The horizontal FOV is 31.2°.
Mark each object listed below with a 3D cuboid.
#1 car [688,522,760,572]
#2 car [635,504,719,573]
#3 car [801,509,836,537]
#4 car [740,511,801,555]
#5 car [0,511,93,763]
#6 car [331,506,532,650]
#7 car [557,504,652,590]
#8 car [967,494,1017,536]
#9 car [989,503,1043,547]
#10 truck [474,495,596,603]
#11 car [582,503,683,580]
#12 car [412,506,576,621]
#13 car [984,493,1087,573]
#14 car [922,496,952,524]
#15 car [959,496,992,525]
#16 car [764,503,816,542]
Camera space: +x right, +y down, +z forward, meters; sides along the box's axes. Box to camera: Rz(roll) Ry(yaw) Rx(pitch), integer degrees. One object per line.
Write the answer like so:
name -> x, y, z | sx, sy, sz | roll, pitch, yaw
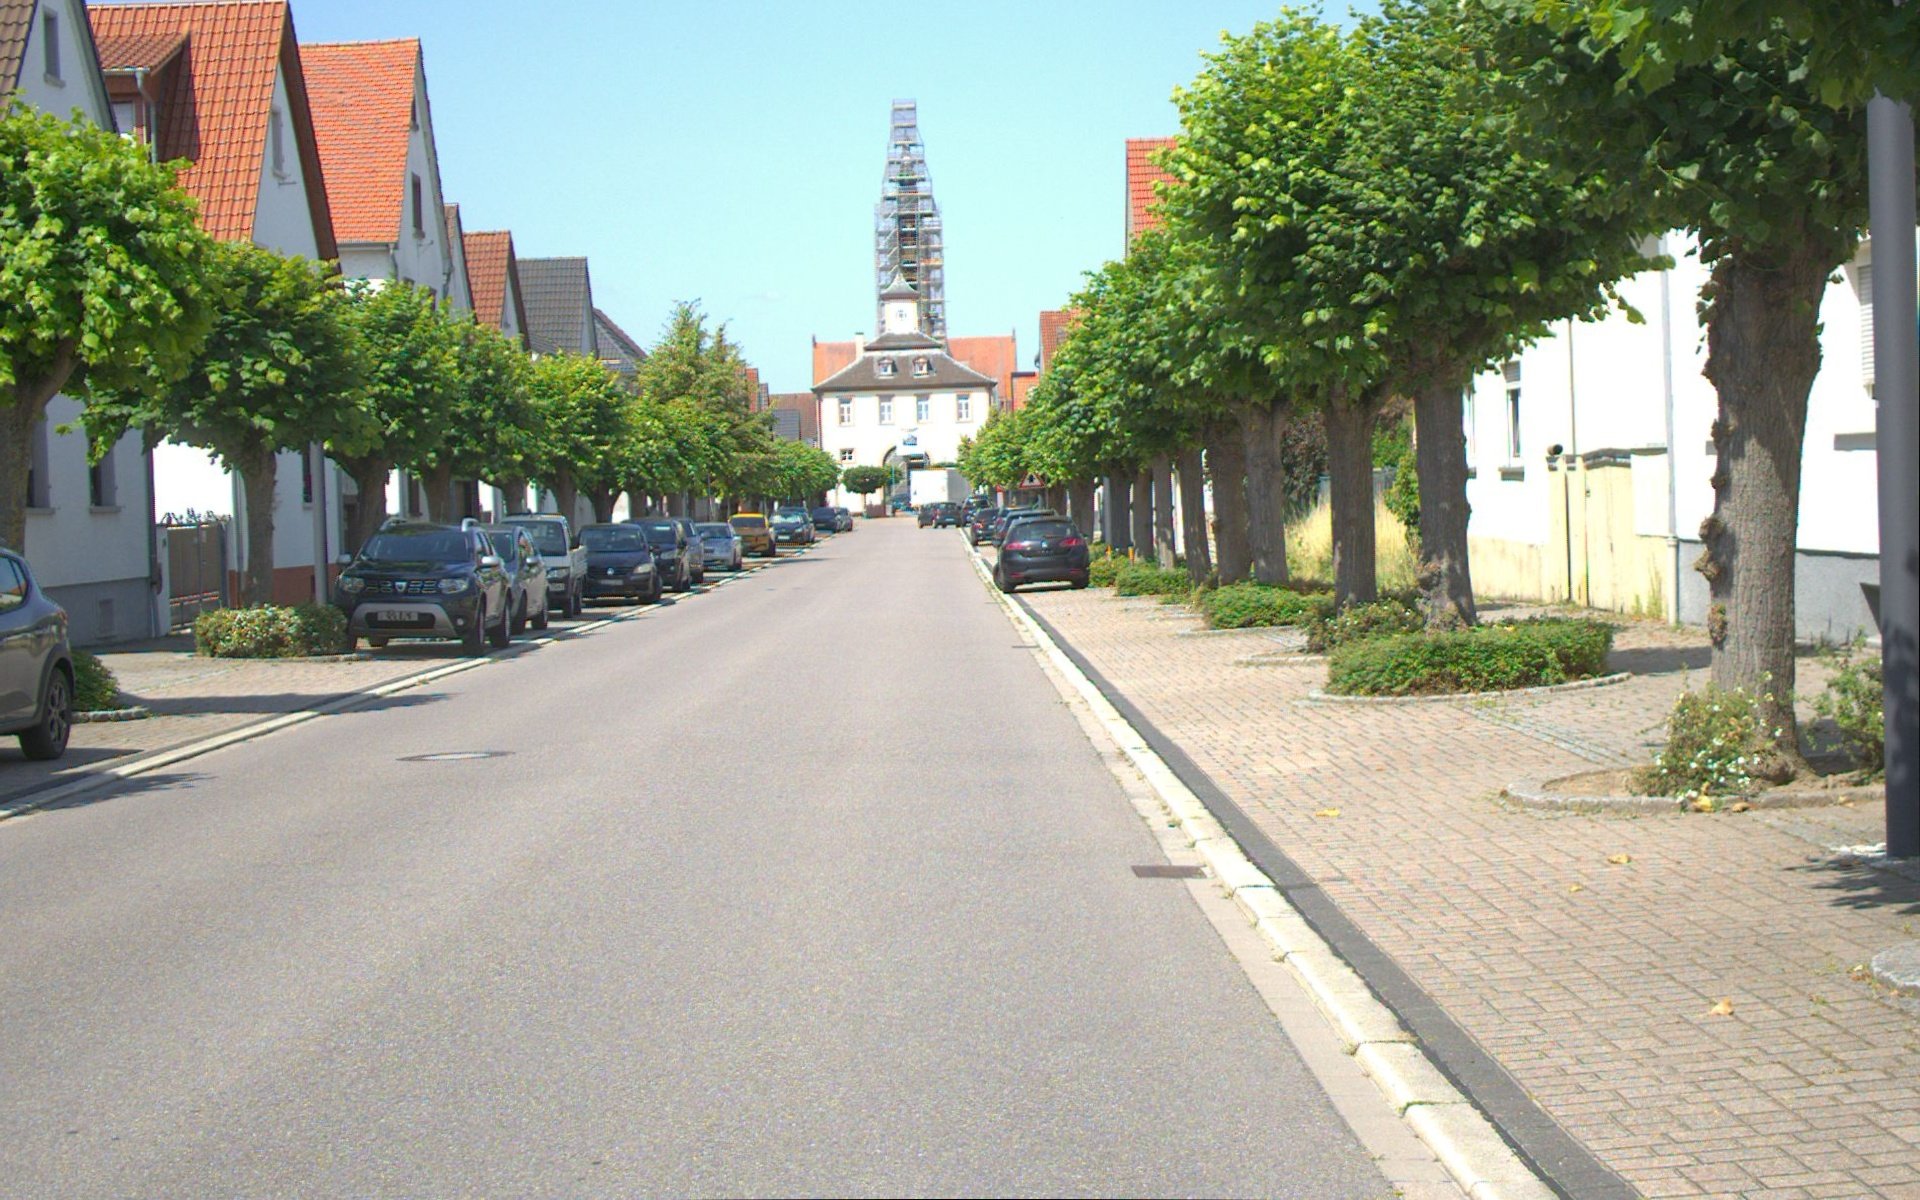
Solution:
car -> -6.833, -1.567, 99.955 | 1.840, 1.391, 4.407 | -1, 2, -1
car -> -6.994, -1.552, 85.339 | 1.993, 1.647, 4.368 | -1, 2, -4
car -> -7.991, -4.368, 194.451 | 1.757, 1.550, 4.020 | -1, 2, 0
car -> -7.126, -2.550, 129.896 | 1.993, 1.606, 4.689 | 0, 2, 1
car -> -7.074, 0.228, 22.102 | 1.853, 1.607, 4.135 | 1, 1, 2
car -> -6.508, -0.315, 42.762 | 1.853, 1.630, 4.300 | 1, 2, 0
car -> -6.940, -1.045, 67.117 | 1.785, 1.628, 4.001 | 0, 1, -6
car -> 1.261, -3.406, 137.441 | 1.837, 1.550, 4.314 | -3, 2, -1
car -> 2.098, -2.847, 130.021 | 1.837, 1.602, 4.001 | -1, 2, -2
truck -> -7.234, -0.887, 58.848 | 1.576, 1.759, 4.192 | 1, 1, 0
car -> -7.182, -1.285, 75.713 | 1.853, 1.629, 4.057 | 0, 1, 0
car -> -6.841, -0.562, 50.850 | 1.853, 1.607, 4.371 | 1, 1, 0
car -> 1.452, -1.342, 67.619 | 1.824, 1.427, 4.057 | -3, 2, 0
car -> -1.323, -5.141, 197.132 | 1.729, 1.542, 3.456 | 0, 1, 0
car -> 0.906, -5.206, 200.093 | 1.837, 1.550, 4.314 | -3, 2, 0
car -> -7.506, -3.432, 151.736 | 1.993, 1.606, 4.689 | 1, 2, 1
